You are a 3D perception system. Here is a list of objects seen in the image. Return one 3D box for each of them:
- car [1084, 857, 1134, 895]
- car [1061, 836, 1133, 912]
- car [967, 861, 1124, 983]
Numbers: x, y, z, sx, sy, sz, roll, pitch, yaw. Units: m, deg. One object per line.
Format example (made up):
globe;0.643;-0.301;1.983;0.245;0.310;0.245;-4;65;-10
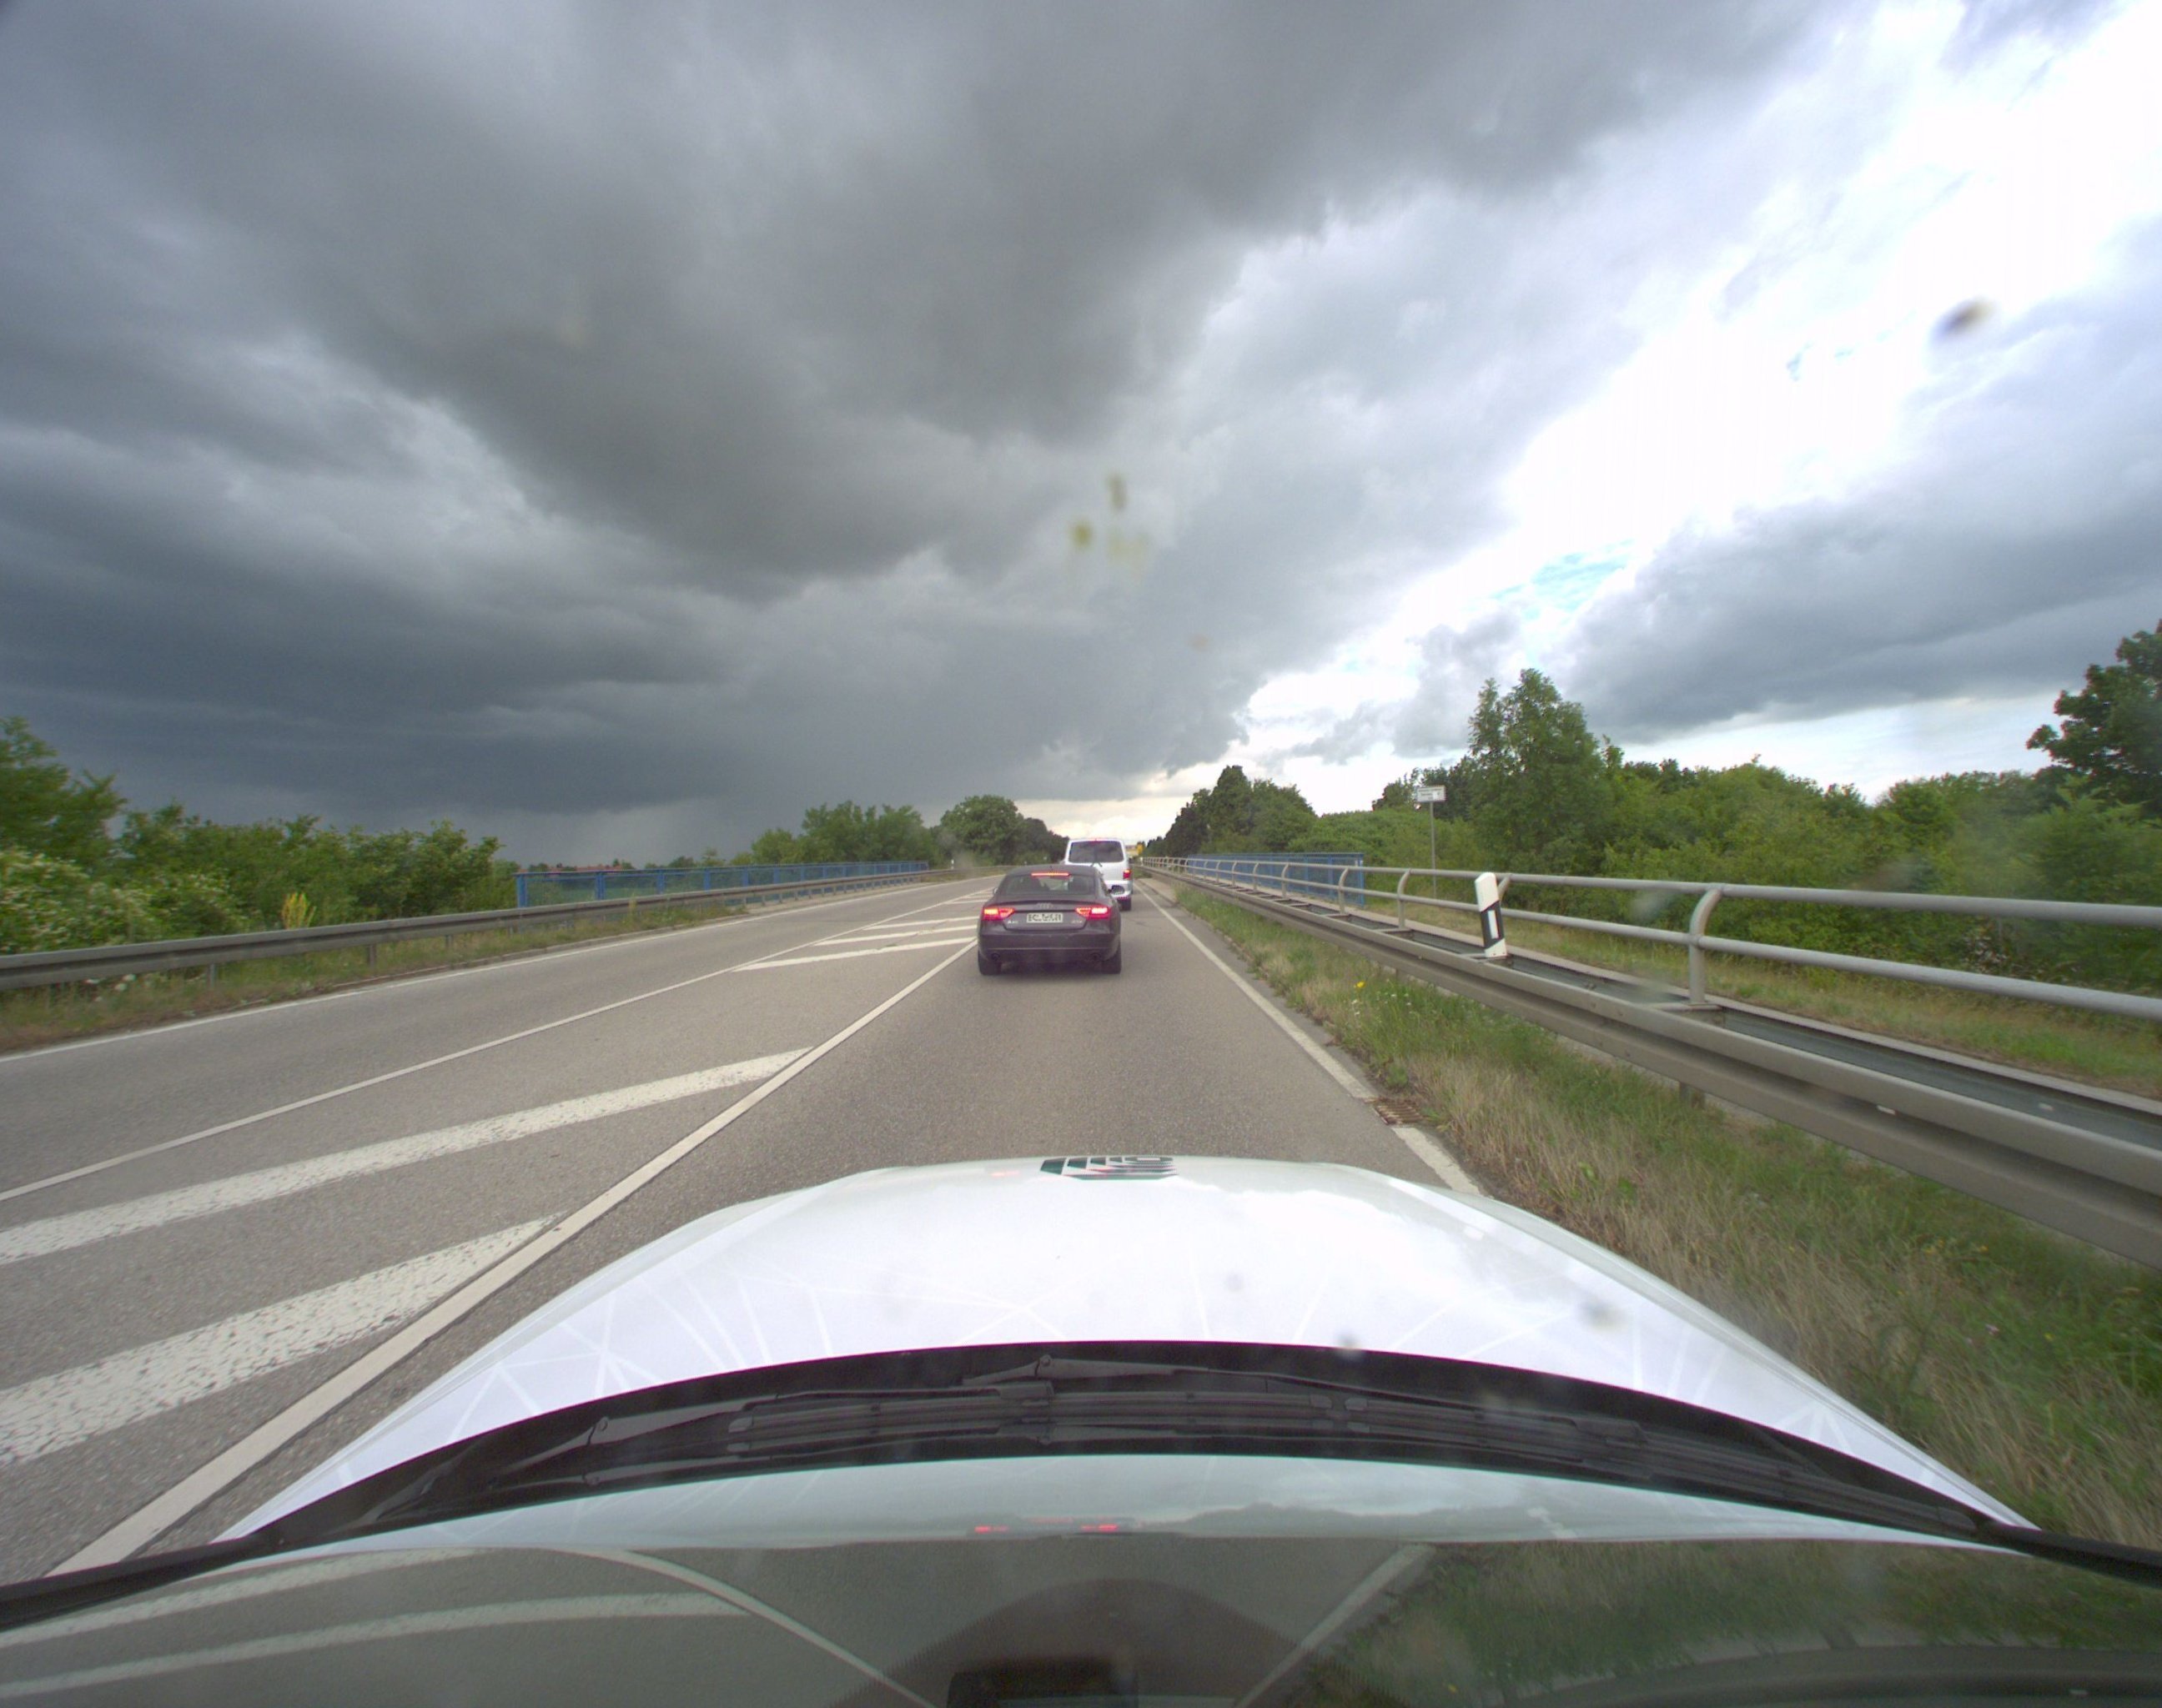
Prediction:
car;1.127;0.824;32.169;1.814;1.381;4.074;-1;0;3
car;0.463;0.532;23.085;1.822;1.935;4.001;-2;0;1
car;-0.322;0.807;11.530;1.814;1.381;4.074;-1;0;3
